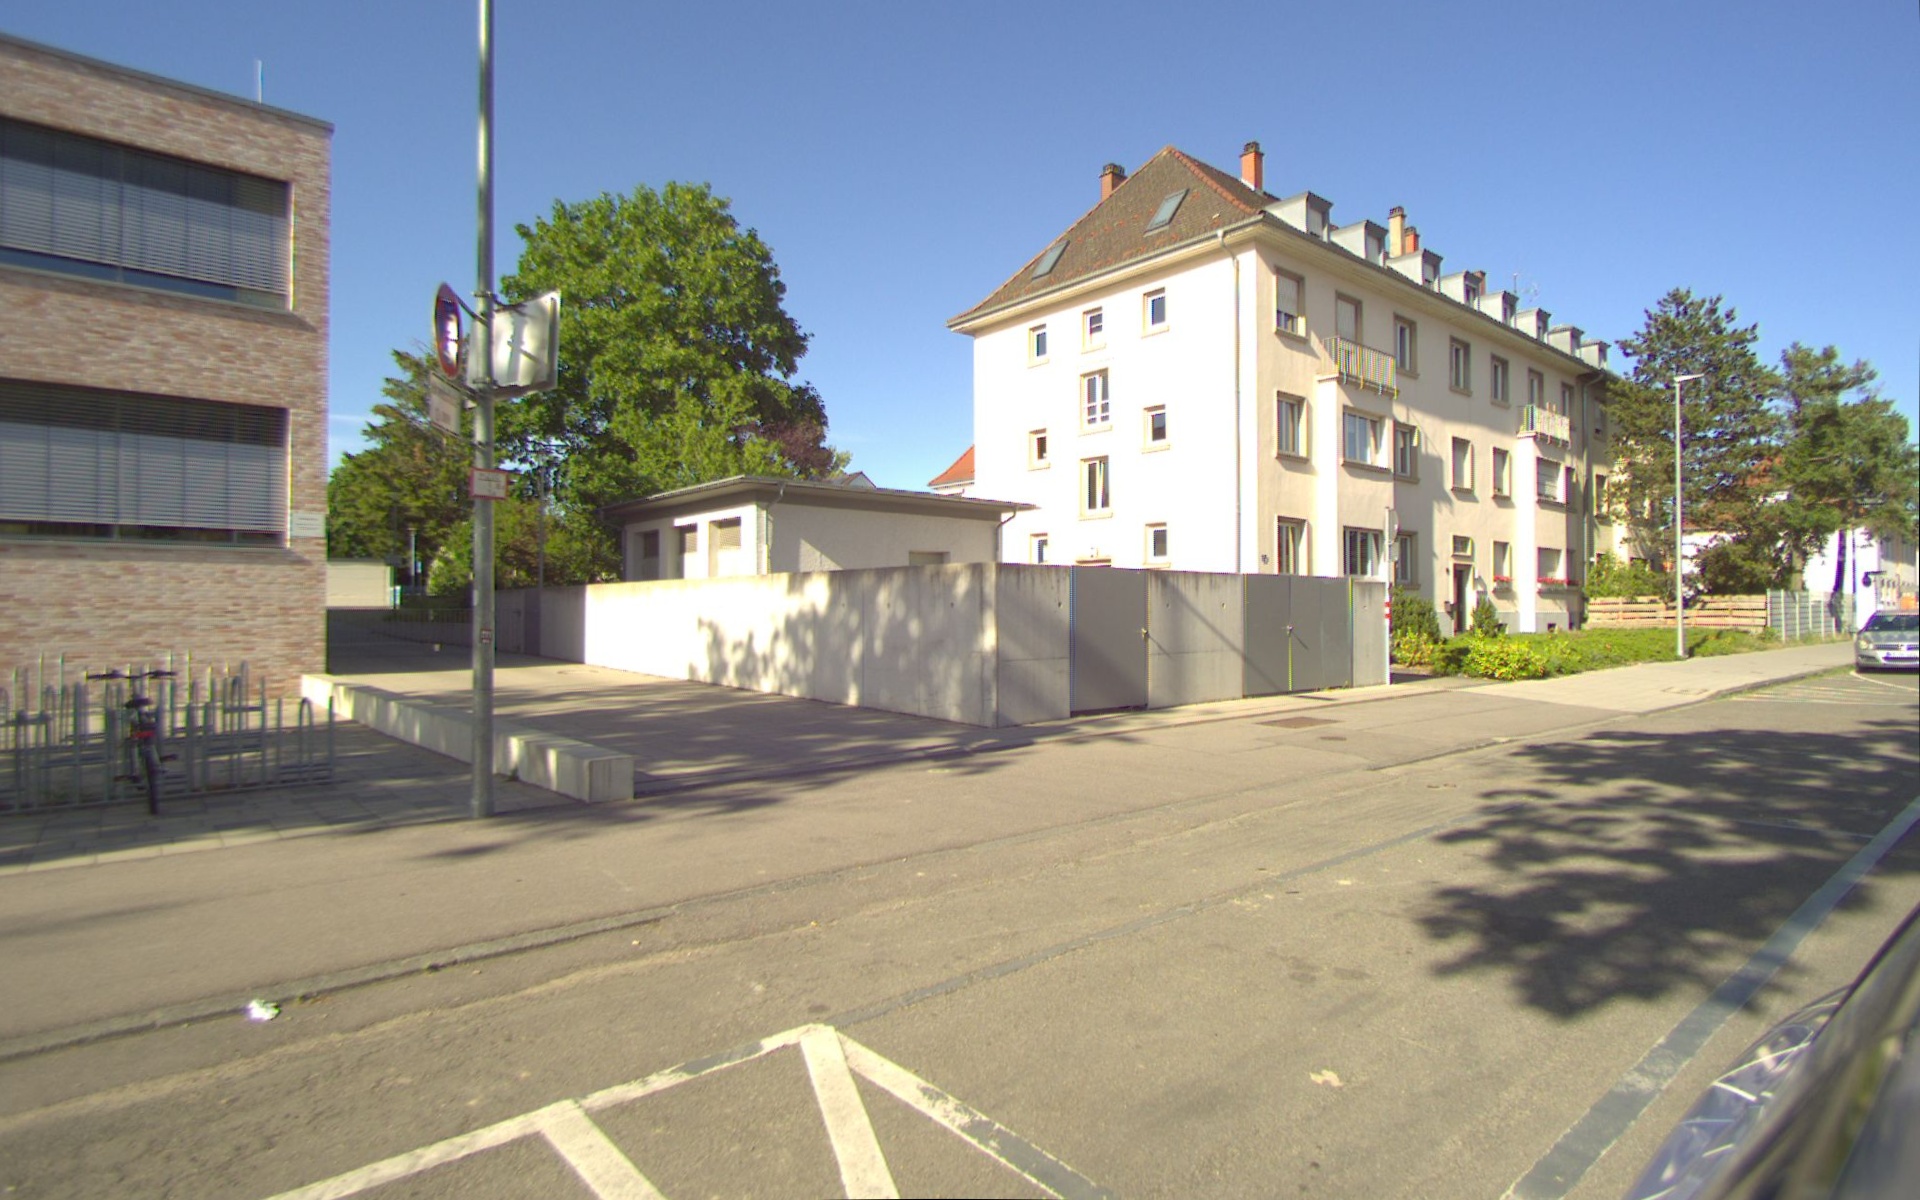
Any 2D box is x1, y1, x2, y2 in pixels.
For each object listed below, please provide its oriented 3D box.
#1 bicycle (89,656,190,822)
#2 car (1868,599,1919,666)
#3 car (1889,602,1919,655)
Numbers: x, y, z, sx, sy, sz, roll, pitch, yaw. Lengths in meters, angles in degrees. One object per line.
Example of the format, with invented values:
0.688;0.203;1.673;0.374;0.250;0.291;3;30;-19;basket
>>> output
-6.026;0.950;7.402;0.491;1.043;1.670;1;-2;-42;bicycle
22.992;0.729;24.140;4.339;1.484;1.660;0;-2;-45;car
27.787;0.752;28.543;4.213;1.439;1.797;0;-2;-41;car
